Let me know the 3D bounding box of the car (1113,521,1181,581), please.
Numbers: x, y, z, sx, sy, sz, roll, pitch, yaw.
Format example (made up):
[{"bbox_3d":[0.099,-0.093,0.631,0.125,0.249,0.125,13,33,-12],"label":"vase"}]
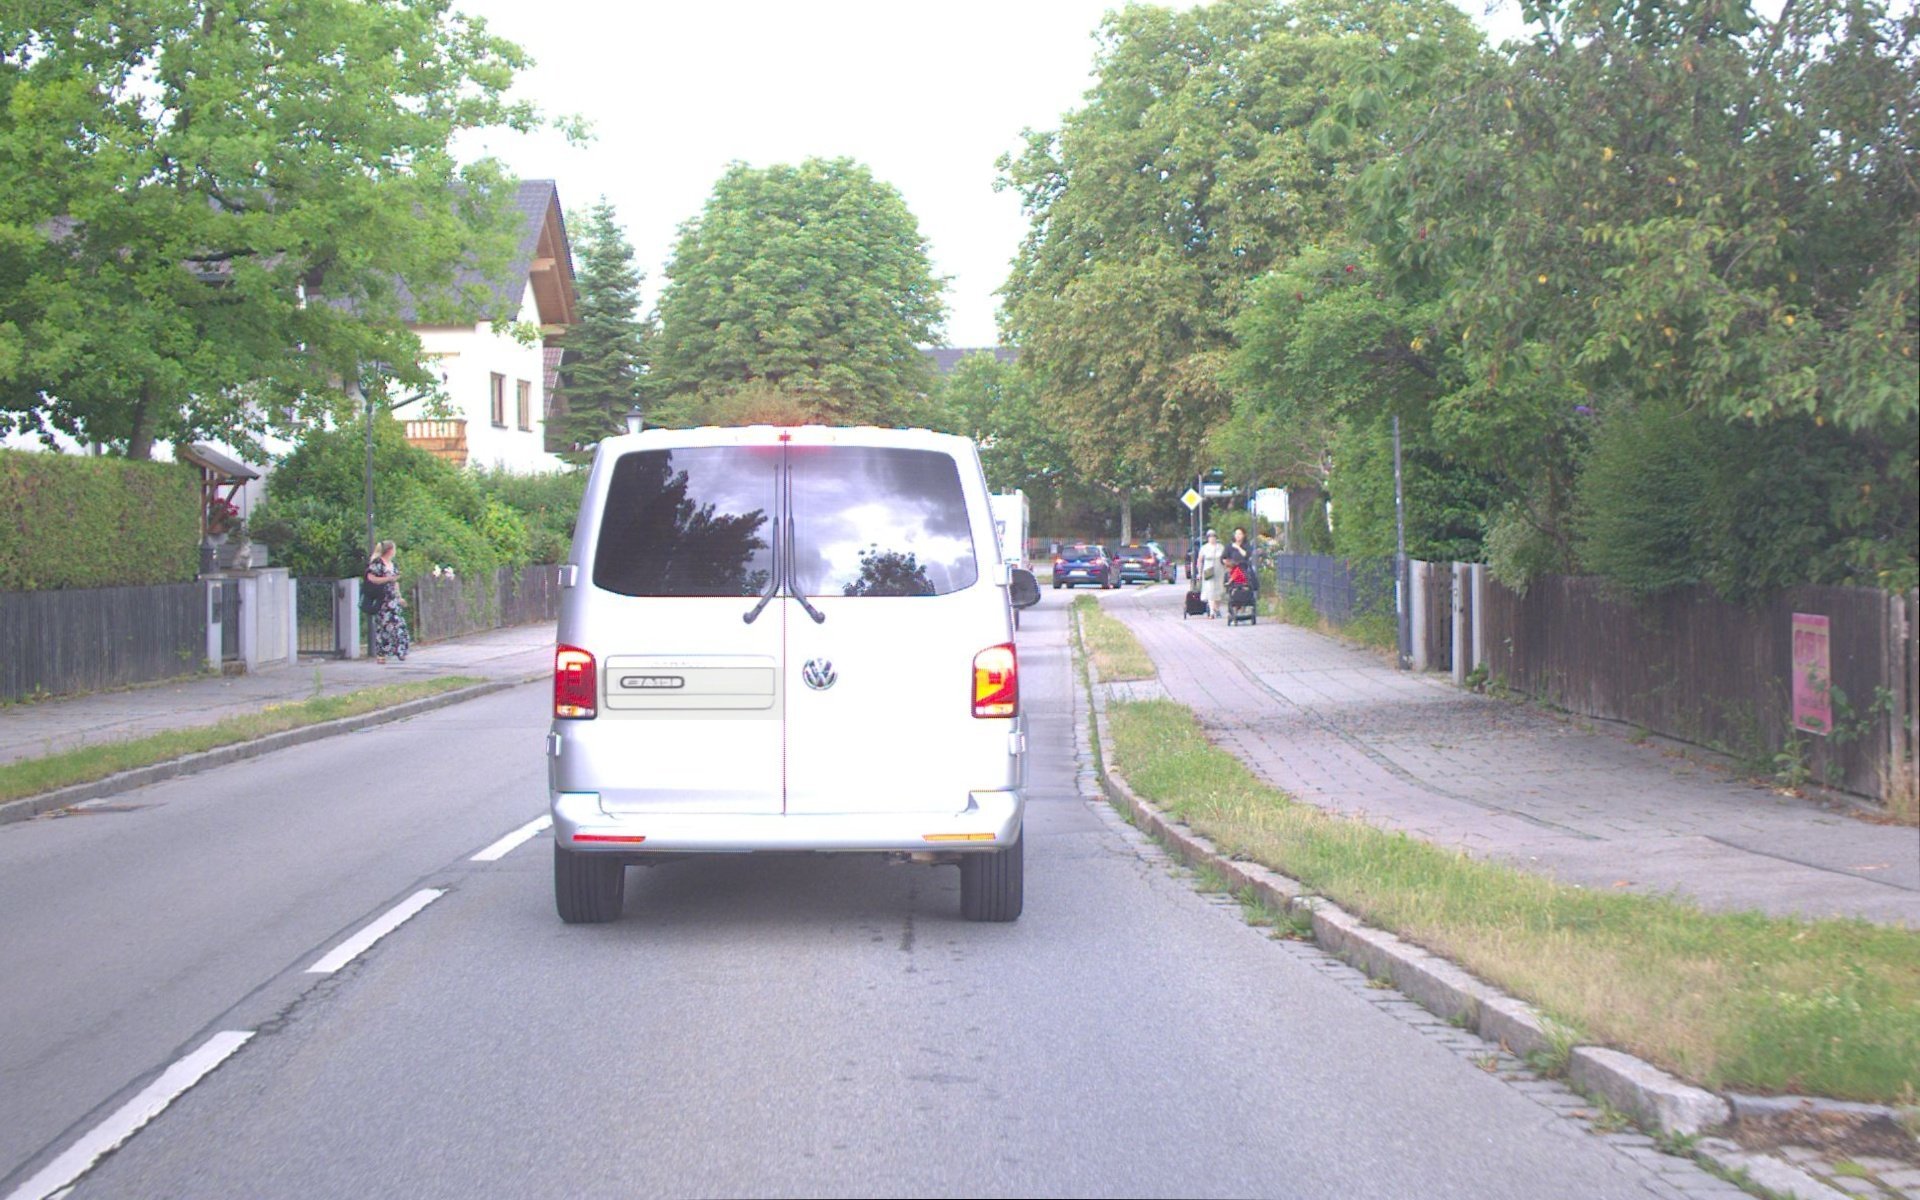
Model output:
[{"bbox_3d":[6.479,-1.690,118.891,1.994,2.007,3.999,-1,1,8],"label":"car"}]

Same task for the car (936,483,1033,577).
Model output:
[{"bbox_3d":[0.576,-1.554,77.088,1.994,2.007,4.000,1,1,2],"label":"car"}]

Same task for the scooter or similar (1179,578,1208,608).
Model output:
[{"bbox_3d":[4.273,-0.132,62.857,0.474,0.543,0.459,1,1,-2],"label":"scooter or similar"}]

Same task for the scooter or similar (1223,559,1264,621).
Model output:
[{"bbox_3d":[4.456,-0.158,54.143,0.551,0.968,0.620,1,1,-2],"label":"scooter or similar"}]

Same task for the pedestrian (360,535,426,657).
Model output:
[{"bbox_3d":[-7.269,-0.056,44.067,0.522,1.544,0.623,1,1,33],"label":"pedestrian"}]

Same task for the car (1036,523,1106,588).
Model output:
[{"bbox_3d":[3.550,-1.425,109.133,1.994,2.007,4.000,-1,1,4],"label":"car"}]

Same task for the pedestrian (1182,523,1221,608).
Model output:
[{"bbox_3d":[4.364,-0.627,62.221,0.622,1.518,0.579,1,1,-2],"label":"pedestrian"}]

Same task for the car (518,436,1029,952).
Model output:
[{"bbox_3d":[-0.665,0.322,14.735,1.888,1.905,4.000,0,1,1],"label":"car"}]

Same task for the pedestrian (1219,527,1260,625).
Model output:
[{"bbox_3d":[4.468,-0.387,54.909,0.551,1.544,0.612,1,1,-2],"label":"pedestrian"}]
